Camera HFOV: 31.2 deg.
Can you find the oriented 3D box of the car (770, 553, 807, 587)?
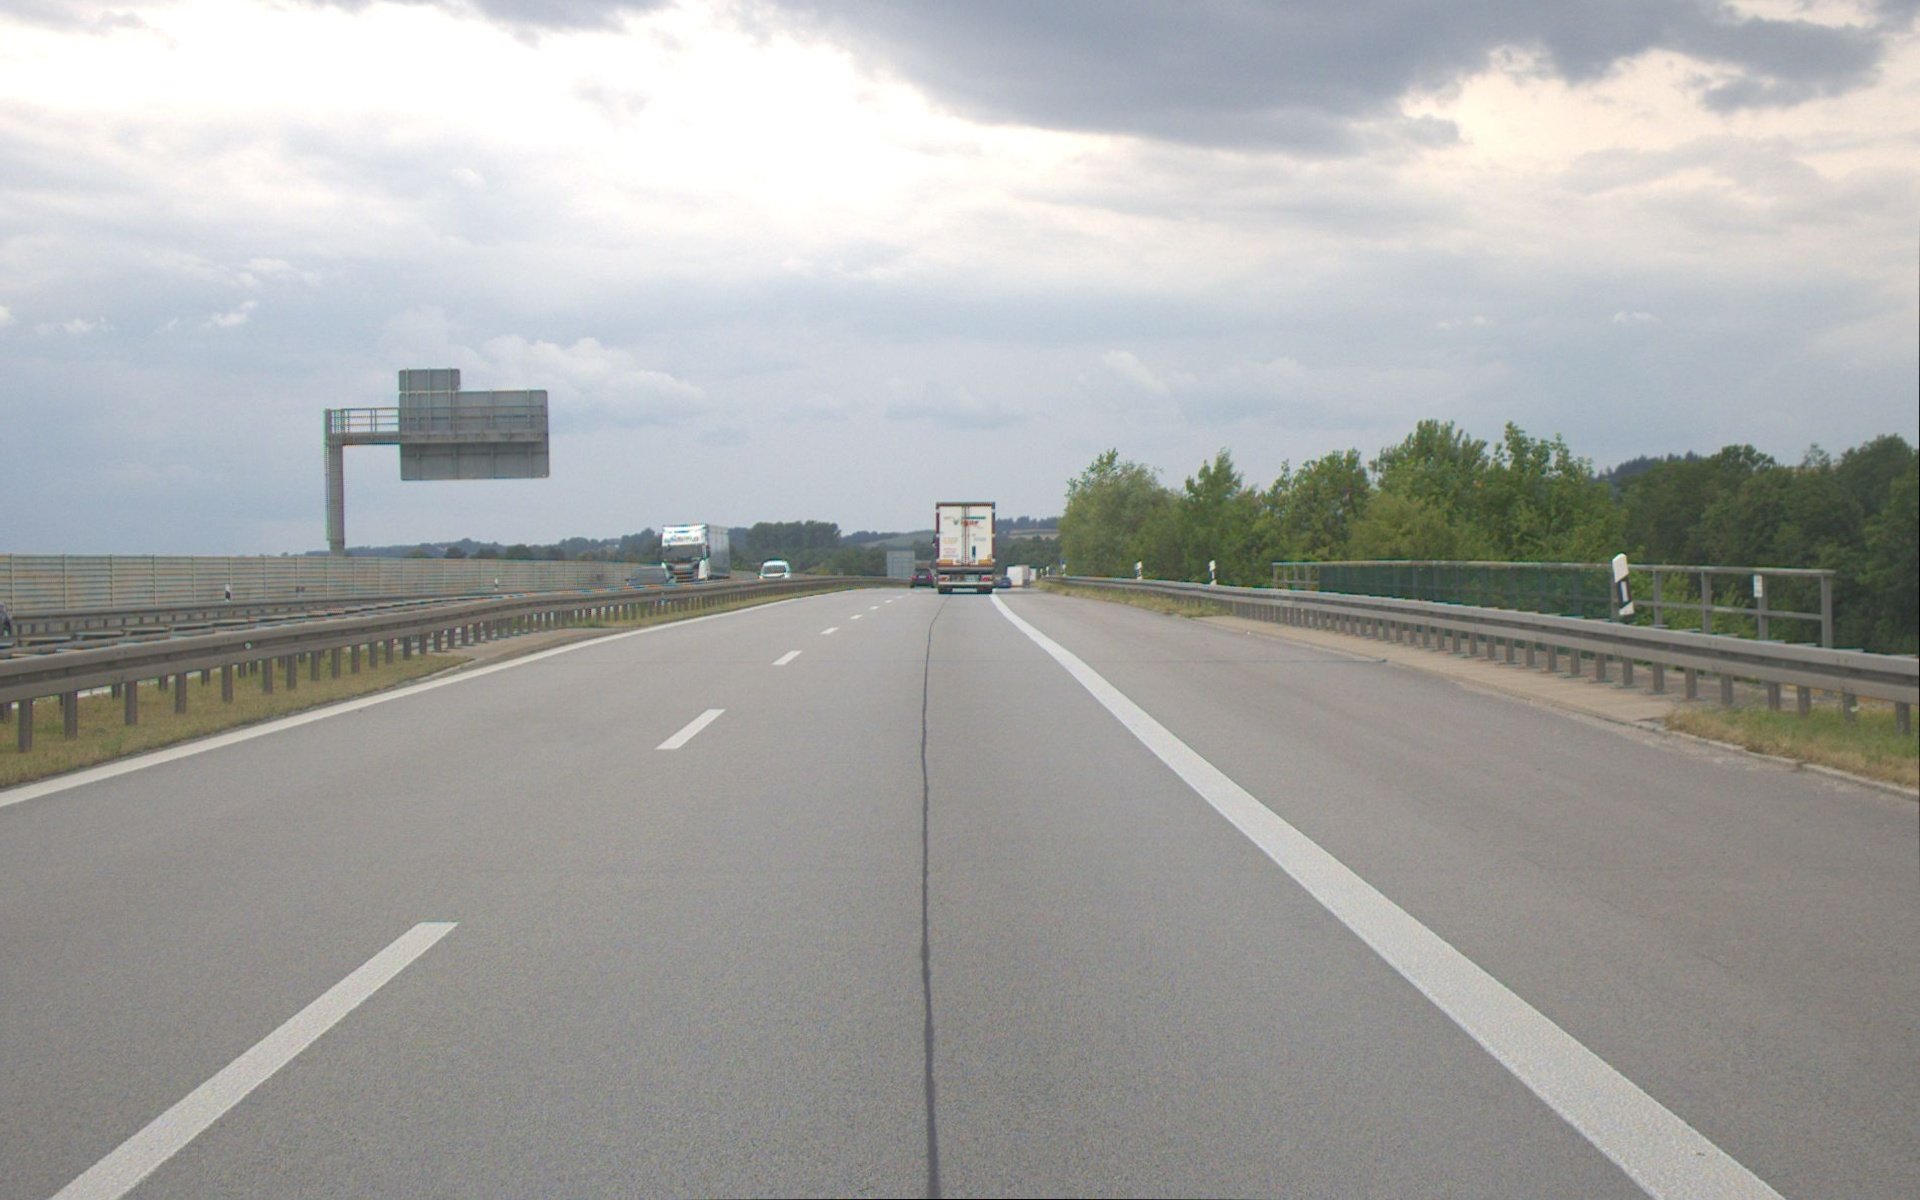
[{"bbox_3d":[-9.935,-1.741,199.529,1.814,1.840,4.181,4,0,0],"label":"car"}]

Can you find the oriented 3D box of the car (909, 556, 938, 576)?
[{"bbox_3d":[-2.679,-2.475,251.335,1.993,1.415,4.001,0,1,-3],"label":"car"}]

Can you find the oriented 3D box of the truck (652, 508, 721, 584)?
[{"bbox_3d":[-15.270,-3.010,192.585,3.109,4.000,7.324,-3,1,0],"label":"truck"}]

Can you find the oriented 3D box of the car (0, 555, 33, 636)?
[{"bbox_3d":[-18.609,-0.046,63.503,1.704,1.489,4.566,-2,1,0],"label":"car"}]

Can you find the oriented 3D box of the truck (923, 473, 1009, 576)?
[{"bbox_3d":[0.308,-3.341,158.242,3.672,4.397,16.341,-1,0,0],"label":"truck"}]
